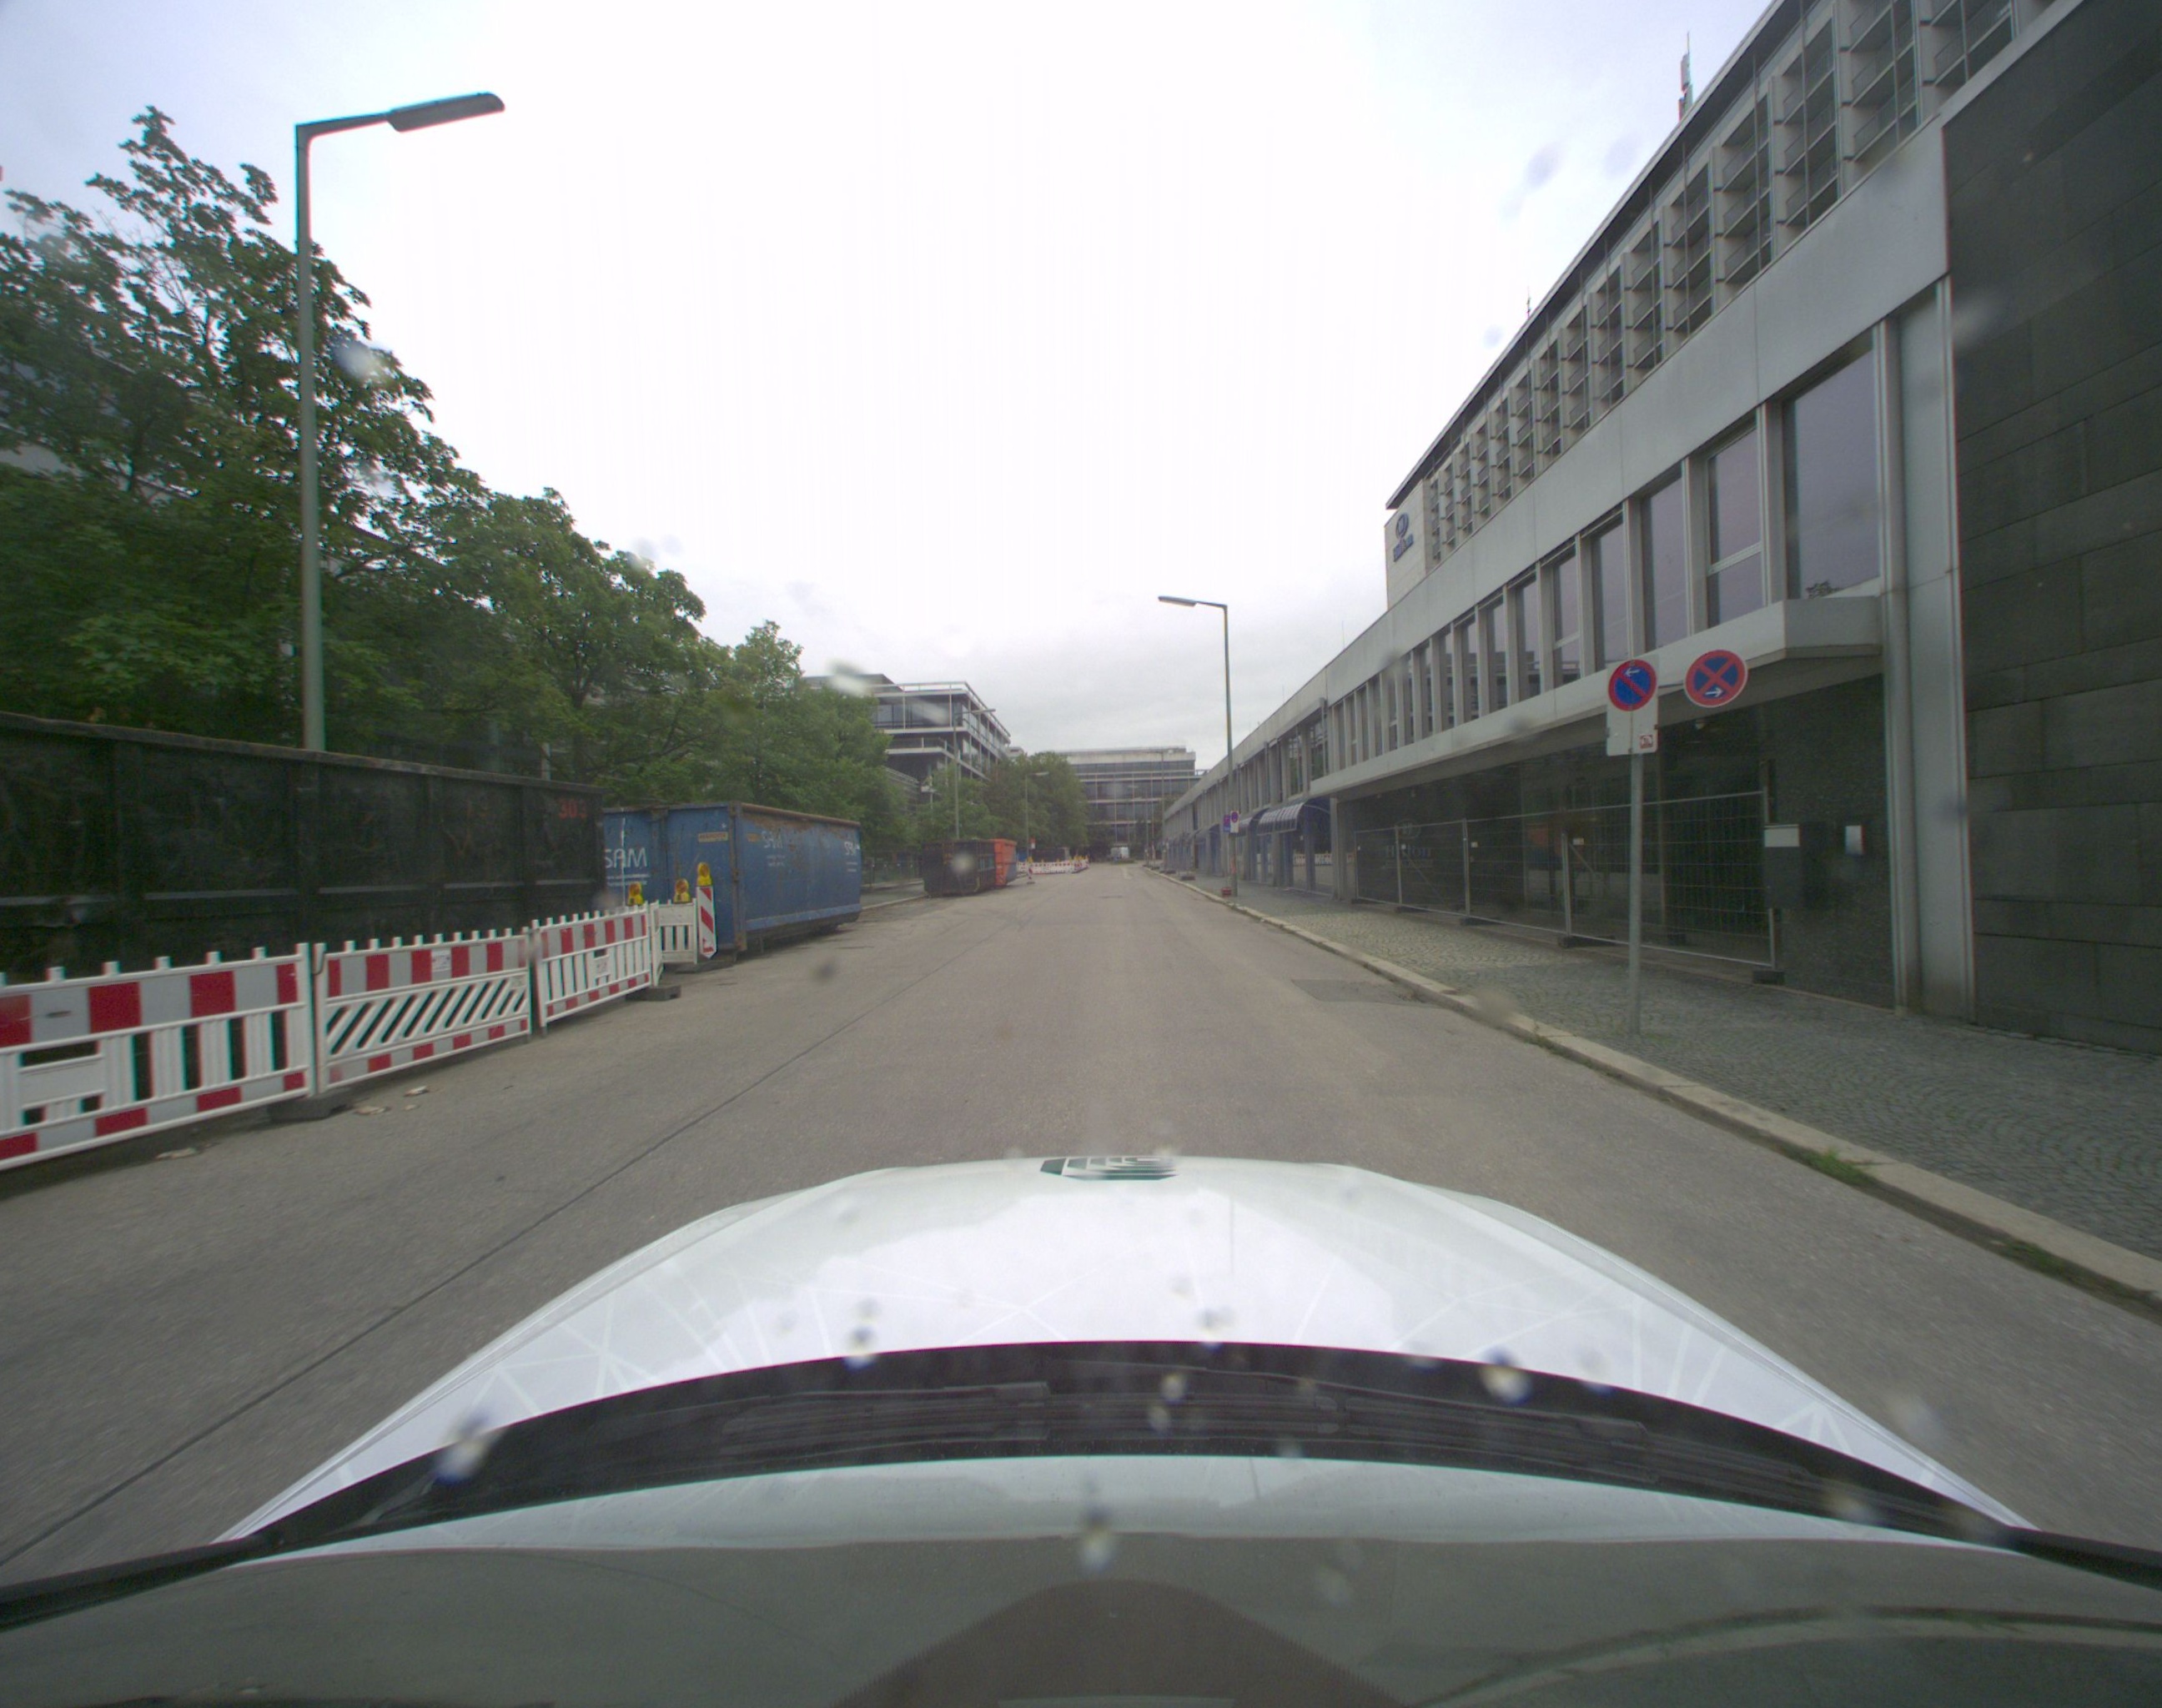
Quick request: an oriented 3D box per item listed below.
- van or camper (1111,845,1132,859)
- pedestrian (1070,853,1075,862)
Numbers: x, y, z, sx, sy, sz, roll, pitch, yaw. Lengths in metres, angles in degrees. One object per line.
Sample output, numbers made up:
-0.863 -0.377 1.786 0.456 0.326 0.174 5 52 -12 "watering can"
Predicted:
7.768 -0.345 156.058 2.094 2.492 5.028 -2 0 -23 "van or camper"
-1.625 0.578 155.159 0.743 1.677 0.678 -2 0 -17 "pedestrian"
